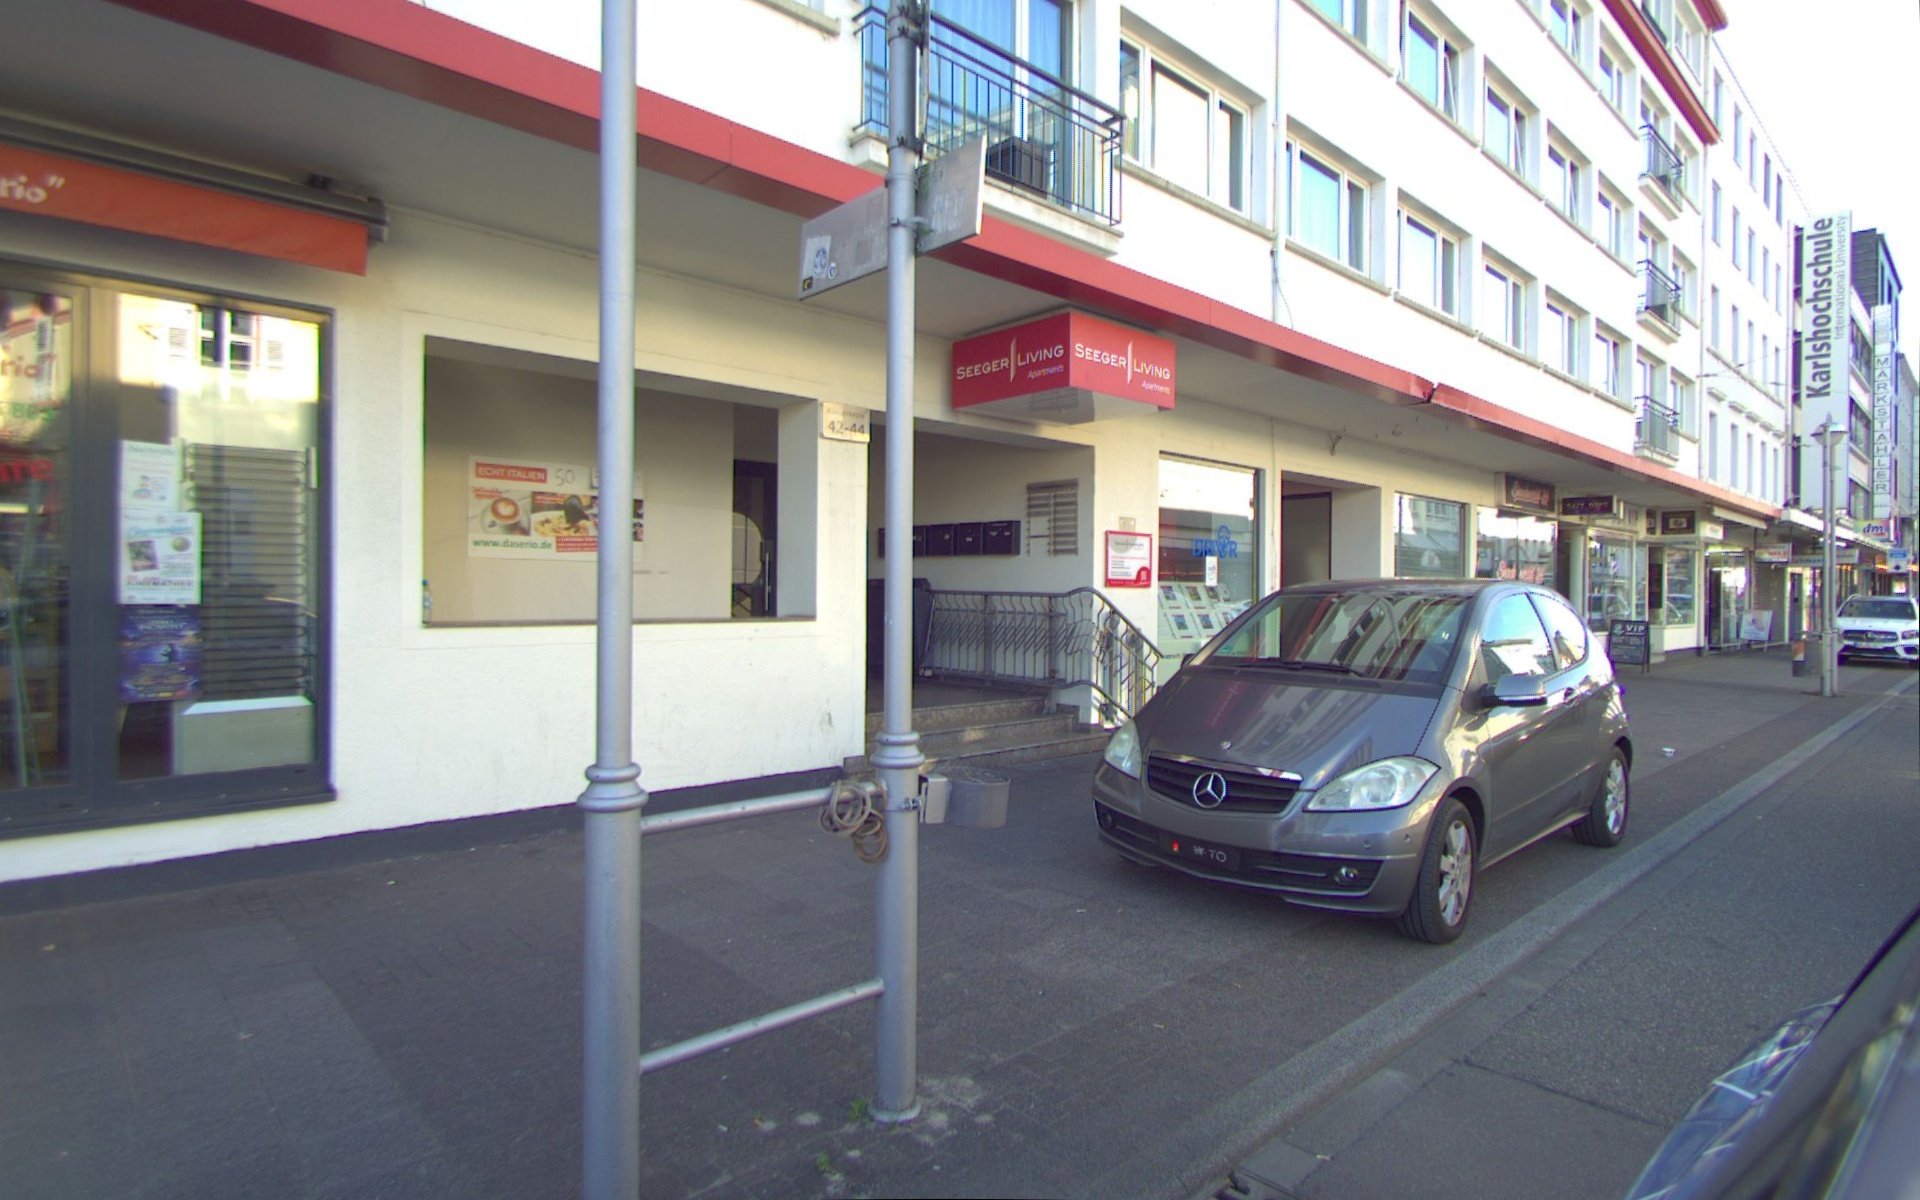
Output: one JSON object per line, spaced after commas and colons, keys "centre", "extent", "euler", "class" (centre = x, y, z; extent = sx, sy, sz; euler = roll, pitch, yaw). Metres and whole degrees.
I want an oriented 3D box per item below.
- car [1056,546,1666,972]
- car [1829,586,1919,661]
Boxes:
{"centre": [2.472, 0.586, 5.694], "extent": [3.932, 1.565, 1.681], "euler": [0, 0, -43], "class": "car"}
{"centre": [22.402, 0.518, 24.347], "extent": [1.994, 1.650, 3.935], "euler": [1, 1, 45], "class": "car"}
